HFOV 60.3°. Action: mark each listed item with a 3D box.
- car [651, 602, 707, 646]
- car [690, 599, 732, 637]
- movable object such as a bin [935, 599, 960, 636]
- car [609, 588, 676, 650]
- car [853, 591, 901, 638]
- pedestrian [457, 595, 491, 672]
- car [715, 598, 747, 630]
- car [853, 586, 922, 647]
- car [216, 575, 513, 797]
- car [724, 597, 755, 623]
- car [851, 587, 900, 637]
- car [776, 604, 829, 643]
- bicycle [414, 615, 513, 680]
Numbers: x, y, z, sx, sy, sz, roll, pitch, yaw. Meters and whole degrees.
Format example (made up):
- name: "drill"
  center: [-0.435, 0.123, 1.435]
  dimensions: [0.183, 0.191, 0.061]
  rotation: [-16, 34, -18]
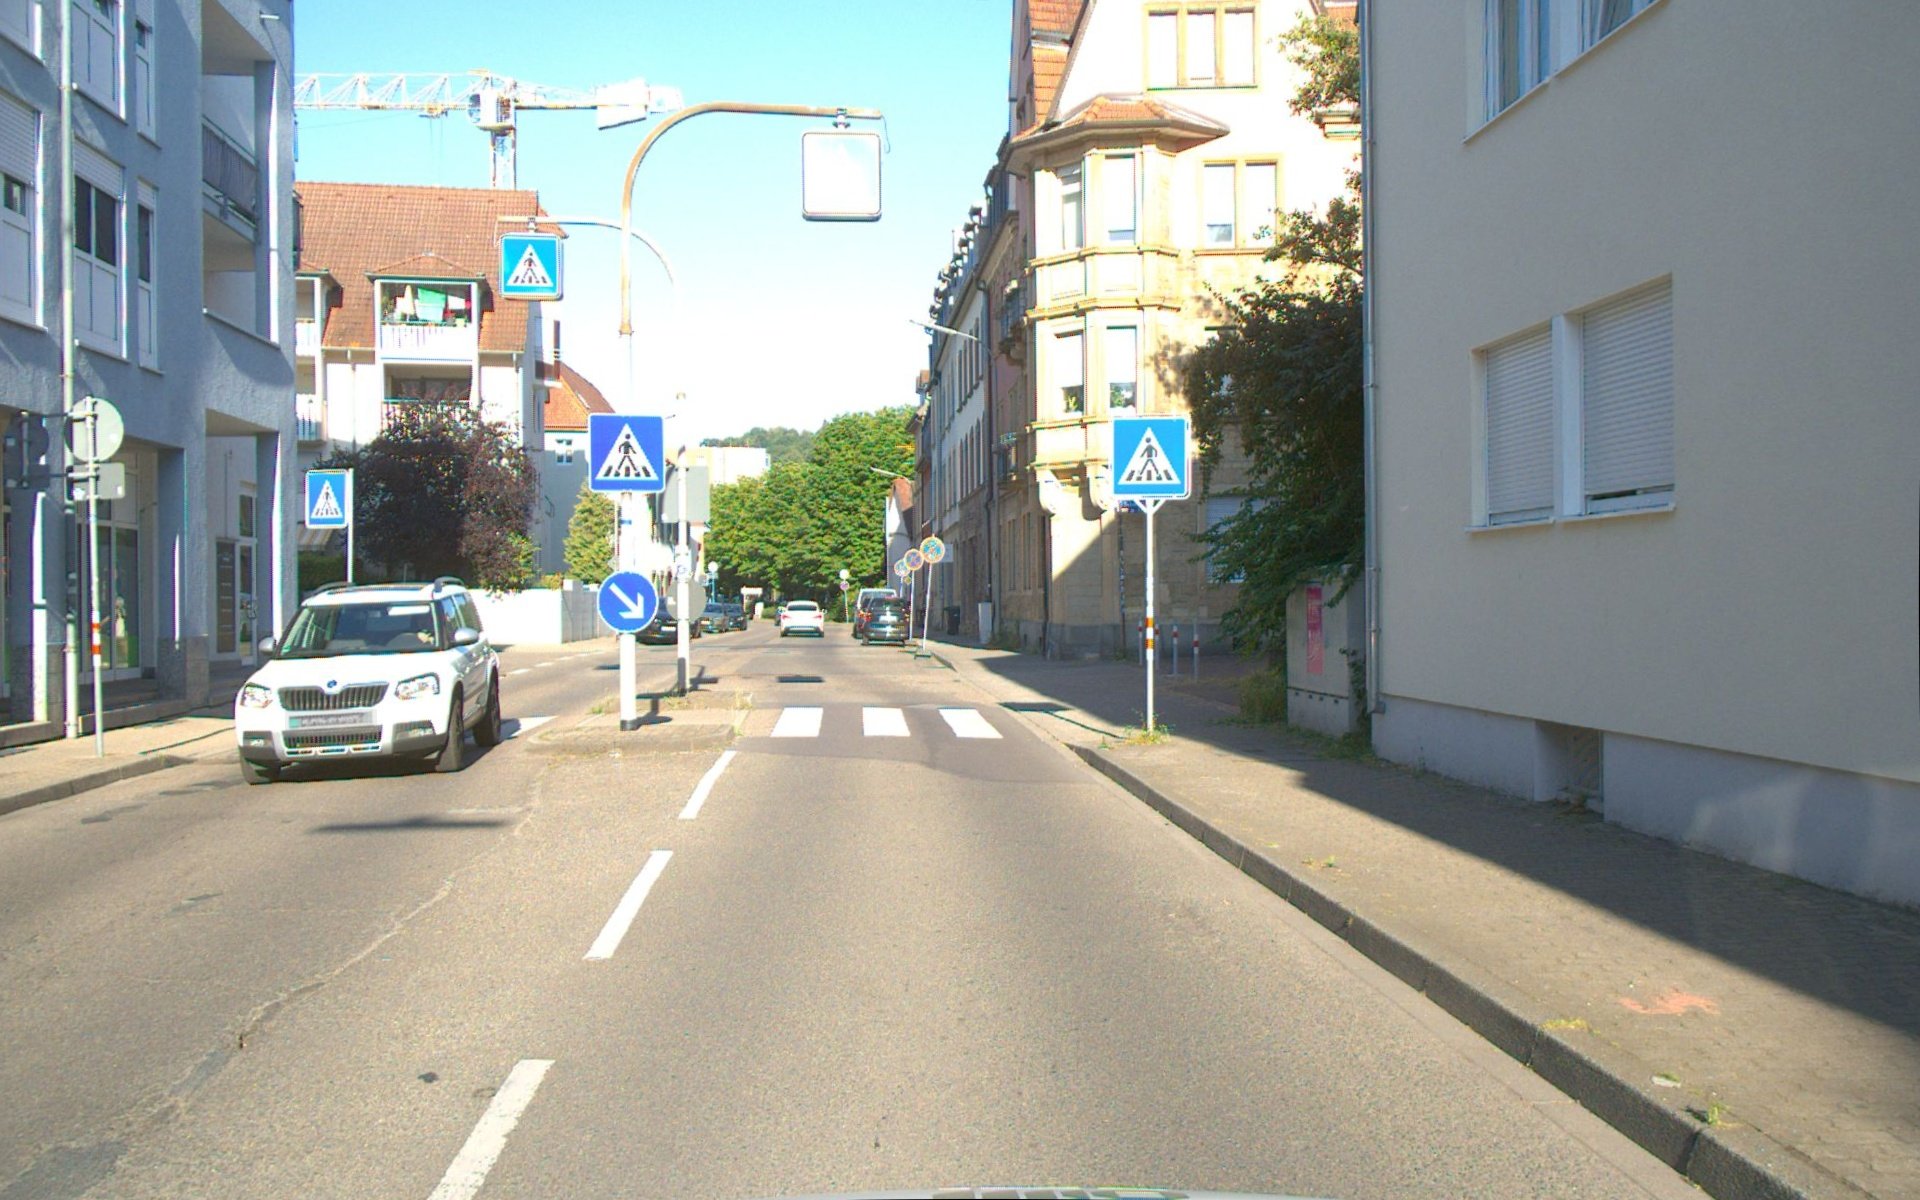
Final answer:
- name: "car"
  center: [-11.819, 0.999, 69.739]
  dimensions: [2.052, 1.659, 3.817]
  rotation: [-2, 1, -6]
- name: "car"
  center: [-12.635, 0.901, 84.060]
  dimensions: [1.874, 1.790, 4.123]
  rotation: [-2, 1, -6]
- name: "movable object such as a bin"
  center: [-0.478, 0.685, 64.342]
  dimensions: [0.855, 1.401, 0.684]
  rotation: [-3, 1, -7]
- name: "car"
  center: [-10.929, 0.618, 57.114]
  dimensions: [1.955, 2.049, 3.994]
  rotation: [0, 0, -7]
- name: "car"
  center: [-3.222, 0.533, 64.552]
  dimensions: [1.782, 1.659, 3.998]
  rotation: [-2, 1, -3]
- name: "pedestrian"
  center: [-9.638, 0.651, 32.809]
  dimensions: [0.546, 1.498, 0.600]
  rotation: [-1, 0, -9]
- name: "car"
  center: [-12.869, 0.790, 92.979]
  dimensions: [1.599, 1.659, 3.170]
  rotation: [-2, 1, -6]
- name: "car"
  center: [-2.387, 0.492, 53.304]
  dimensions: [1.972, 1.885, 3.995]
  rotation: [0, 1, -6]
- name: "car"
  center: [-5.353, 0.680, 15.419]
  dimensions: [1.774, 1.731, 4.183]
  rotation: [-2, 0, -9]
- name: "car"
  center: [-17.981, 0.782, 134.873]
  dimensions: [1.961, 2.049, 3.983]
  rotation: [-1, 0, -16]
- name: "car"
  center: [-3.586, 0.484, 69.531]
  dimensions: [1.806, 1.939, 3.995]
  rotation: [-2, 1, -6]
- name: "car"
  center: [-6.400, 0.924, 66.947]
  dimensions: [1.956, 1.492, 3.993]
  rotation: [-1, 0, -7]
- name: "bicycle"
  center: [-9.720, 0.925, 32.423]
  dimensions: [1.751, 1.205, 0.598]
  rotation: [-1, 0, -5]
